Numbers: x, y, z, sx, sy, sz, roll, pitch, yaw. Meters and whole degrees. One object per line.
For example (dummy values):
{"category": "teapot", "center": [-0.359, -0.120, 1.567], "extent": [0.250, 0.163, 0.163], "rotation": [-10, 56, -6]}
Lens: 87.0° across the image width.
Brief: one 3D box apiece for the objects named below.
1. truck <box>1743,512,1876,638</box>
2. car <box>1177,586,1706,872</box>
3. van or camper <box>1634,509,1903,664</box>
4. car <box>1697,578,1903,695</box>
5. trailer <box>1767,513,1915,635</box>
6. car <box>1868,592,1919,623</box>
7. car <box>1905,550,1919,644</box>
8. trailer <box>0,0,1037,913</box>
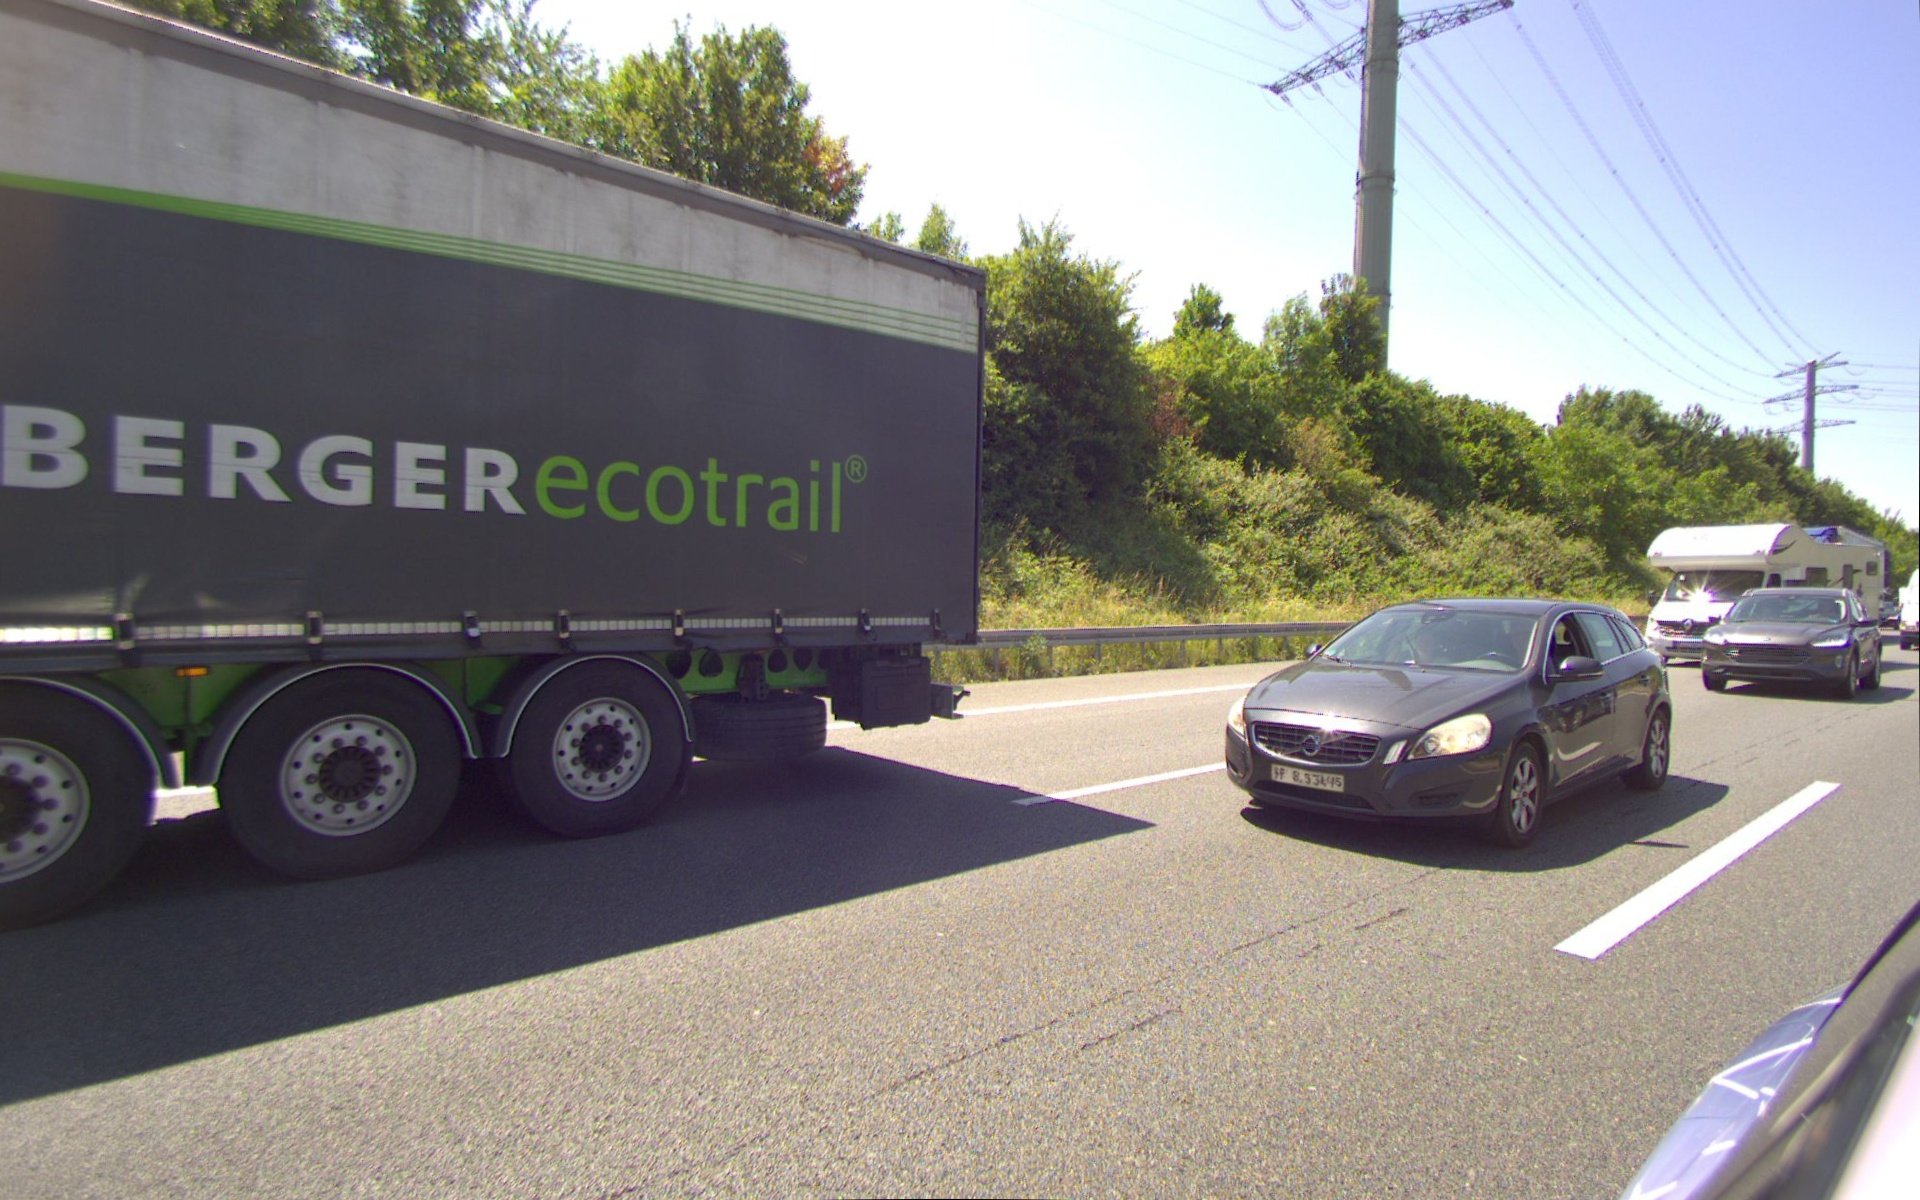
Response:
{"category": "truck", "center": [30.566, -0.860, 36.353], "extent": [5.538, 4.197, 2.790], "rotation": [-1, 0, -41]}
{"category": "car", "center": [3.641, 0.628, 7.236], "extent": [4.431, 1.437, 1.798], "rotation": [-1, 0, -41]}
{"category": "van or camper", "center": [18.585, -0.308, 23.113], "extent": [7.481, 3.082, 2.378], "rotation": [-1, 0, -31]}
{"category": "car", "center": [13.572, 0.487, 16.268], "extent": [4.146, 1.631, 1.892], "rotation": [-1, 0, -41]}
{"category": "trailer", "center": [36.013, -0.981, 41.100], "extent": [12.653, 4.317, 2.772], "rotation": [-1, 0, -41]}
{"category": "car", "center": [49.255, 0.385, 53.224], "extent": [3.805, 1.538, 1.719], "rotation": [-1, 0, -40]}
{"category": "car", "center": [31.047, -0.108, 31.261], "extent": [6.589, 2.753, 2.041], "rotation": [-1, 0, -41]}
{"category": "trailer", "center": [-5.193, -0.847, 4.419], "extent": [12.882, 4.098, 2.788], "rotation": [-1, 0, -41]}
